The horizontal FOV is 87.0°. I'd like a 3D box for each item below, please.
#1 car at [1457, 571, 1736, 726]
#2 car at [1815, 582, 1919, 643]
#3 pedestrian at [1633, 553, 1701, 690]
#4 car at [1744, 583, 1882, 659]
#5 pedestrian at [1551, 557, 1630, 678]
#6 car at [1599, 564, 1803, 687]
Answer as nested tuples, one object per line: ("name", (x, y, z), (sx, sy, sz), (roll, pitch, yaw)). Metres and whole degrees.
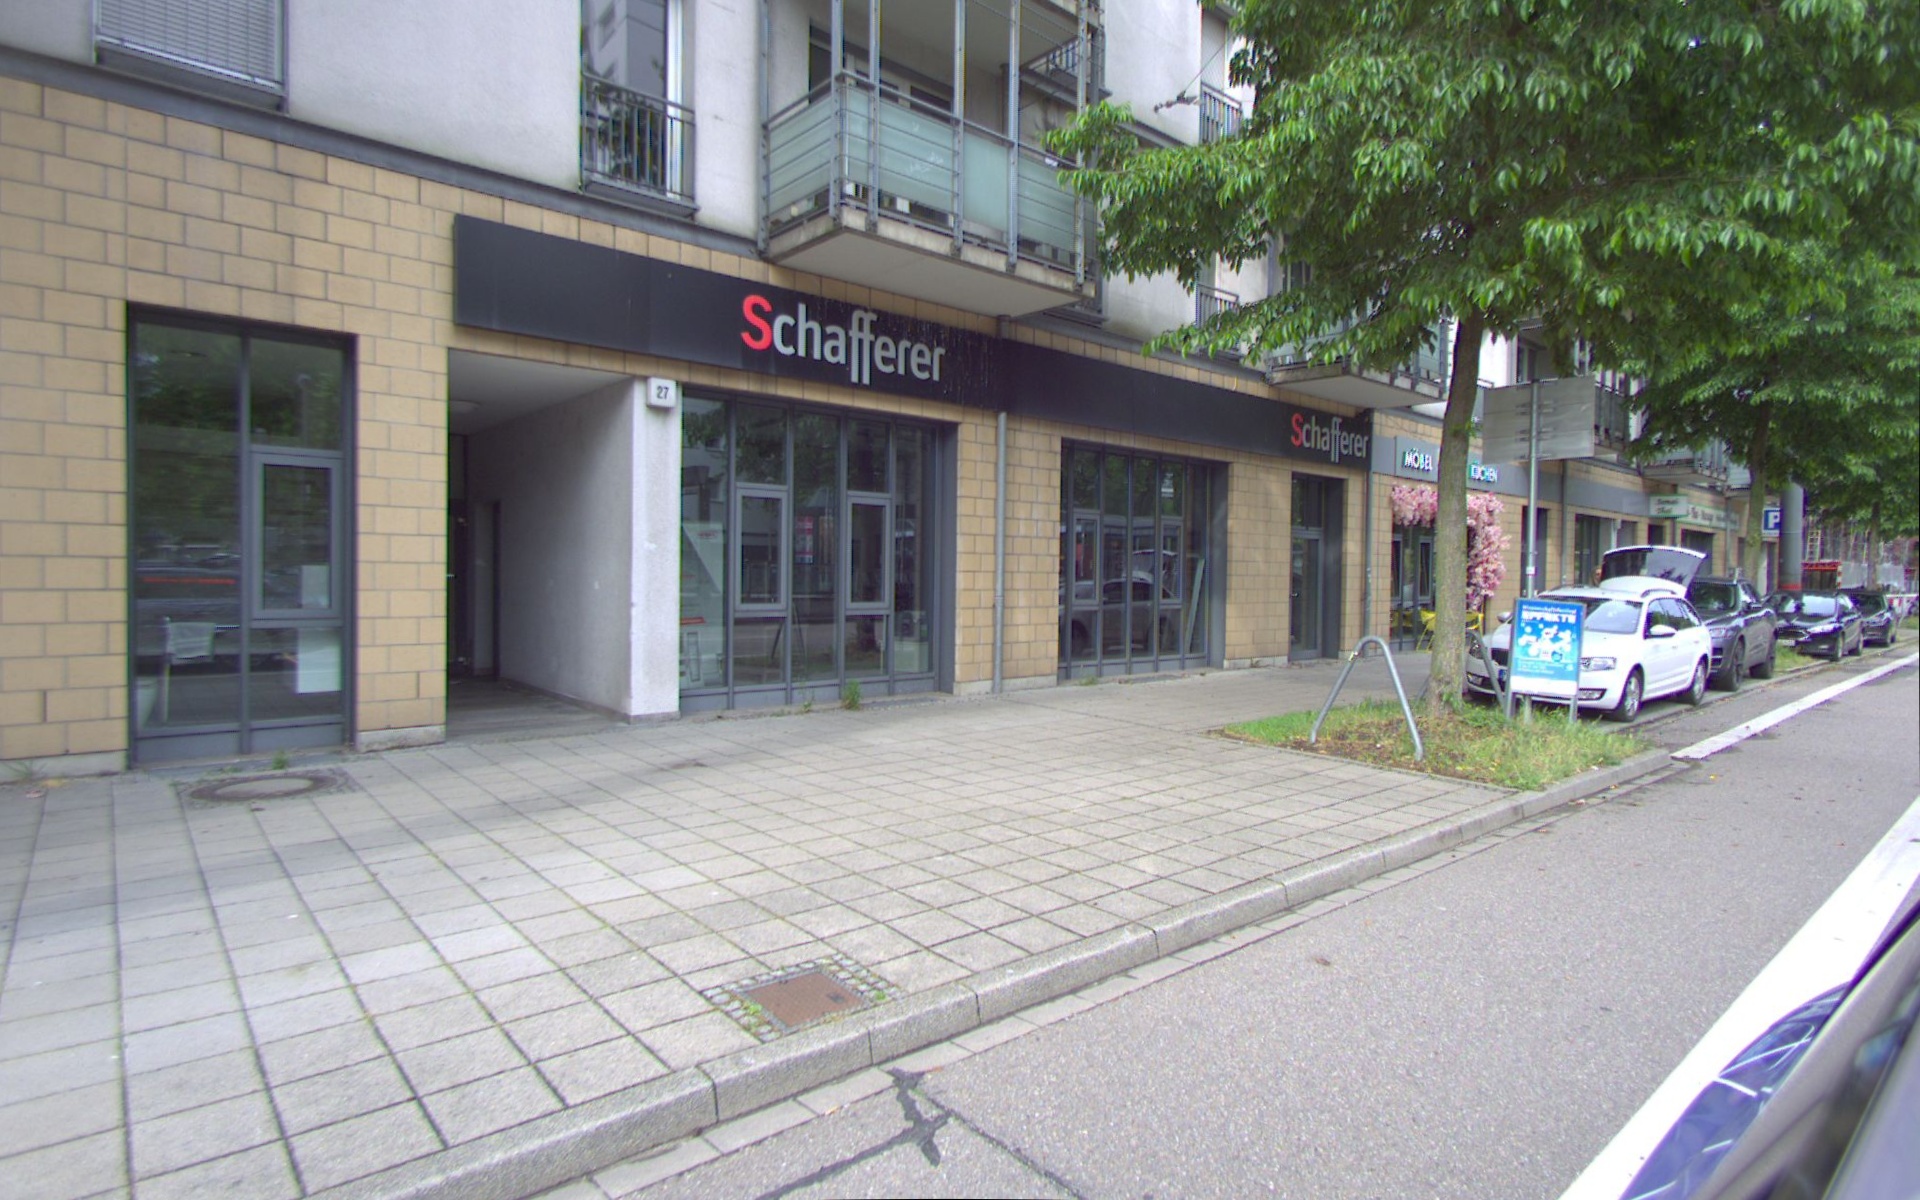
("car", (8.112, 0.474, 12.746), (4.233, 1.539, 1.738), (-1, 5, -41))
("car", (24.146, 0.287, 26.861), (3.603, 1.417, 1.612), (-1, 5, -41))
("pedestrian", (10.157, 0.290, 14.537), (0.588, 1.907, 0.656), (0, 1, -41))
("car", (18.625, 0.386, 22.035), (4.095, 1.394, 1.612), (-1, 5, -41))
("pedestrian", (9.436, 0.240, 15.160), (0.606, 1.737, 0.739), (0, 3, -34))
("car", (11.784, 0.318, 16.019), (3.732, 1.630, 1.738), (-1, 5, -41))
